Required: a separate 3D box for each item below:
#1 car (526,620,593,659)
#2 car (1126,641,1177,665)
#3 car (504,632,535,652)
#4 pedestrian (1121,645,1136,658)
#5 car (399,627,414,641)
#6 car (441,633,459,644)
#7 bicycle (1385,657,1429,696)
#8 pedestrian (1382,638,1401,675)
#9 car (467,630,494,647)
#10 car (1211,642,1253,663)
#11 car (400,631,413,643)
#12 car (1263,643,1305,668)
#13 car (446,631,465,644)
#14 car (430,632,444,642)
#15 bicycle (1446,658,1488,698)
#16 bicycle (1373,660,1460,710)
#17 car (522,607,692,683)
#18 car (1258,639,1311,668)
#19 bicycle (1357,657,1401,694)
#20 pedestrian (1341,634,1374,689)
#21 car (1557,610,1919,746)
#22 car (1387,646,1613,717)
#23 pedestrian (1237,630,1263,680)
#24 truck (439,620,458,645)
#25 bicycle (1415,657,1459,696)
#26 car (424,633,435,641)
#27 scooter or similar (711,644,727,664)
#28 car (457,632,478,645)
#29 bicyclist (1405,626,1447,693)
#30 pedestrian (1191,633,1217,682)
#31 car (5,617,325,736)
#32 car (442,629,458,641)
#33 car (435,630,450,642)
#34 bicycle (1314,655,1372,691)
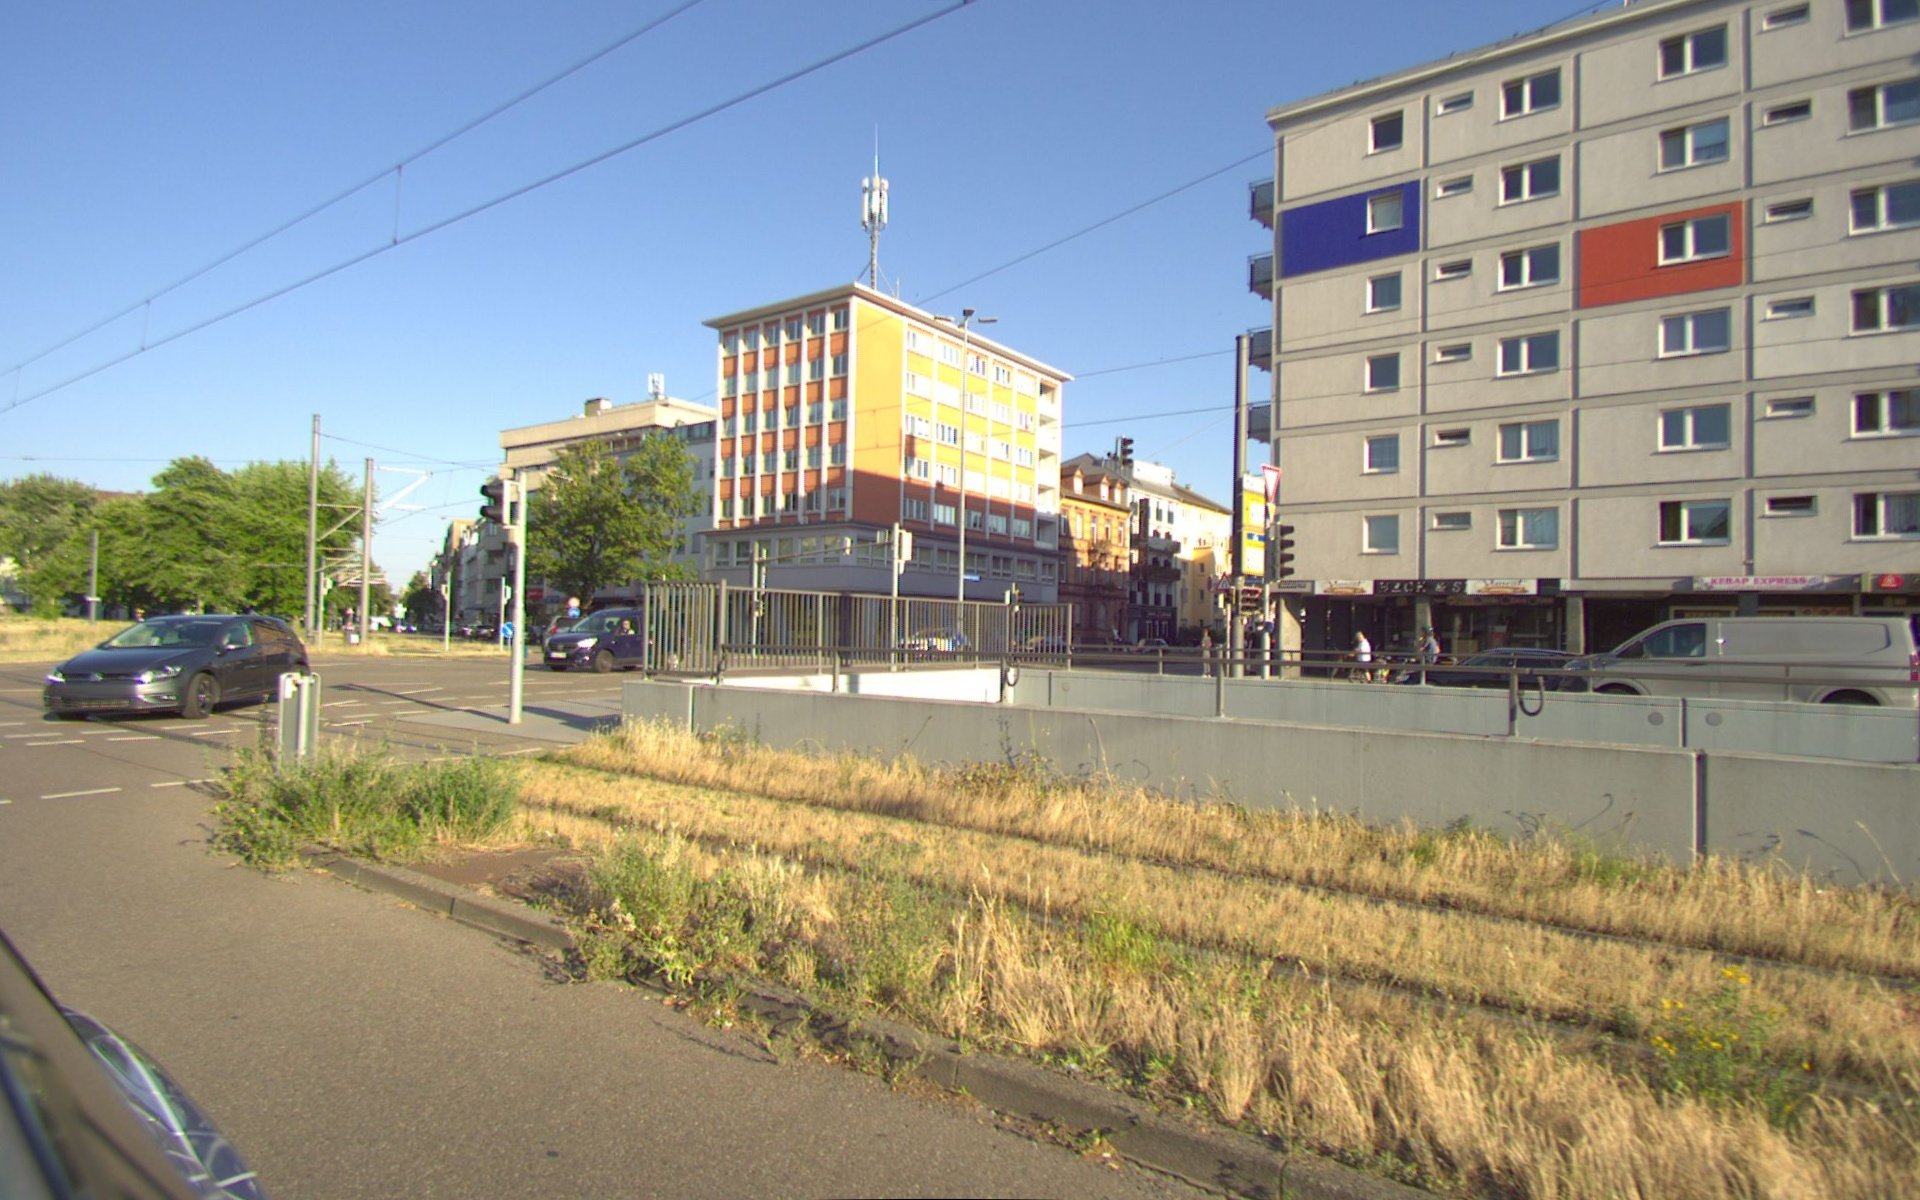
[{"bbox_3d":[-19.071,1.826,48.059,1.966,1.737,5.045,1,-1,-34],"label":"car"},{"bbox_3d":[12.933,3.544,68.209,1.905,1.552,3.951,-1,-2,36],"label":"car"},{"bbox_3d":[-33.697,3.203,77.441,1.613,1.439,3.646,2,-3,-32],"label":"car"},{"bbox_3d":[14.896,4.551,89.434,1.098,1.144,0.914,-1,-3,35],"label":"pedestrian"},{"bbox_3d":[-78.063,4.801,142.633,1.621,1.828,3.499,2,-3,-32],"label":"car"},{"bbox_3d":[-66.614,5.052,132.173,1.711,1.394,3.634,2,-3,-32],"label":"car"},{"bbox_3d":[13.414,2.269,30.317,0.735,1.059,2.271,-1,-2,36],"label":"bicycle"},{"bbox_3d":[19.849,2.612,46.580,0.617,1.685,0.658,1,-2,1],"label":"pedestrian"},{"bbox_3d":[-46.981,3.748,99.183,1.931,1.568,3.884,2,-3,-32],"label":"car"},{"bbox_3d":[21.454,4.117,79.644,1.905,1.552,3.951,-1,-2,36],"label":"car"},{"bbox_3d":[-89.950,6.003,164.364,1.621,1.828,3.499,2,-3,-32],"label":"car"},{"bbox_3d":[21.431,3.658,66.828,1.580,1.556,3.433,1,-2,37],"label":"car"},{"bbox_3d":[-59.992,4.444,120.278,1.711,1.394,3.634,2,-3,-32],"label":"car"},{"bbox_3d":[-88.841,6.307,172.006,1.776,1.607,3.688,2,-3,-32],"label":"car"},{"bbox_3d":[14.737,2.243,29.399,0.735,1.059,2.271,-1,-2,36],"label":"bicycle"},{"bbox_3d":[11.304,2.082,25.079,1.780,1.105,0.939,1,-3,38],"label":"bicycle"},{"bbox_3d":[-9.573,1.226,27.824,1.884,1.868,4.431,1,-2,23],"label":"car"},{"bbox_3d":[19.415,3.219,60.372,1.797,1.577,4.096,0,-3,36],"label":"car"},{"bbox_3d":[12.755,2.279,30.786,0.735,1.059,2.271,-1,-3,36],"label":"bicycle"},{"bbox_3d":[12.604,1.959,32.126,0.600,1.736,0.687,1,-5,-28],"label":"pedestrian"},{"bbox_3d":[13.105,1.218,17.245,4.928,2.029,1.976,-1,-3,36],"label":"car"},{"bbox_3d":[11.747,1.720,22.127,4.192,1.323,1.779,0,-3,36],"label":"car"},{"bbox_3d":[11.027,2.103,38.486,0.609,1.890,0.802,-4,-5,37],"label":"pedestrian"},{"bbox_3d":[-70.286,4.451,139.059,1.711,3.245,6.425,2,-3,-32],"label":"truck"},{"bbox_3d":[14.085,2.241,29.854,0.735,1.059,2.271,-1,-2,36],"label":"bicycle"},{"bbox_3d":[-94.132,6.628,179.651,1.471,1.384,3.434,2,-3,-32],"label":"car"},{"bbox_3d":[-15.572,3.491,65.311,0.476,1.245,1.566,3,-2,-33],"label":"scooter or similar"},{"bbox_3d":[-52.851,4.109,108.613,1.711,1.394,3.400,2,-3,-32],"label":"car"},{"bbox_3d":[11.505,1.465,24.969,0.737,1.610,0.951,0,-3,37],"label":"bicyclist"},{"bbox_3d":[9.204,2.170,38.130,0.610,1.800,0.801,-4,-5,40],"label":"pedestrian"},{"bbox_3d":[-11.498,1.012,15.075,1.744,1.470,4.275,0,0,-6],"label":"car"},{"bbox_3d":[-73.357,5.047,145.475,1.741,1.715,3.590,2,-3,-32],"label":"car"},{"bbox_3d":[-77.078,5.322,150.713,1.741,1.715,3.590,2,-3,-32],"label":"car"},{"bbox_3d":[12.400,2.372,32.774,2.030,1.100,0.521,3,-2,-27],"label":"bicycle"}]
